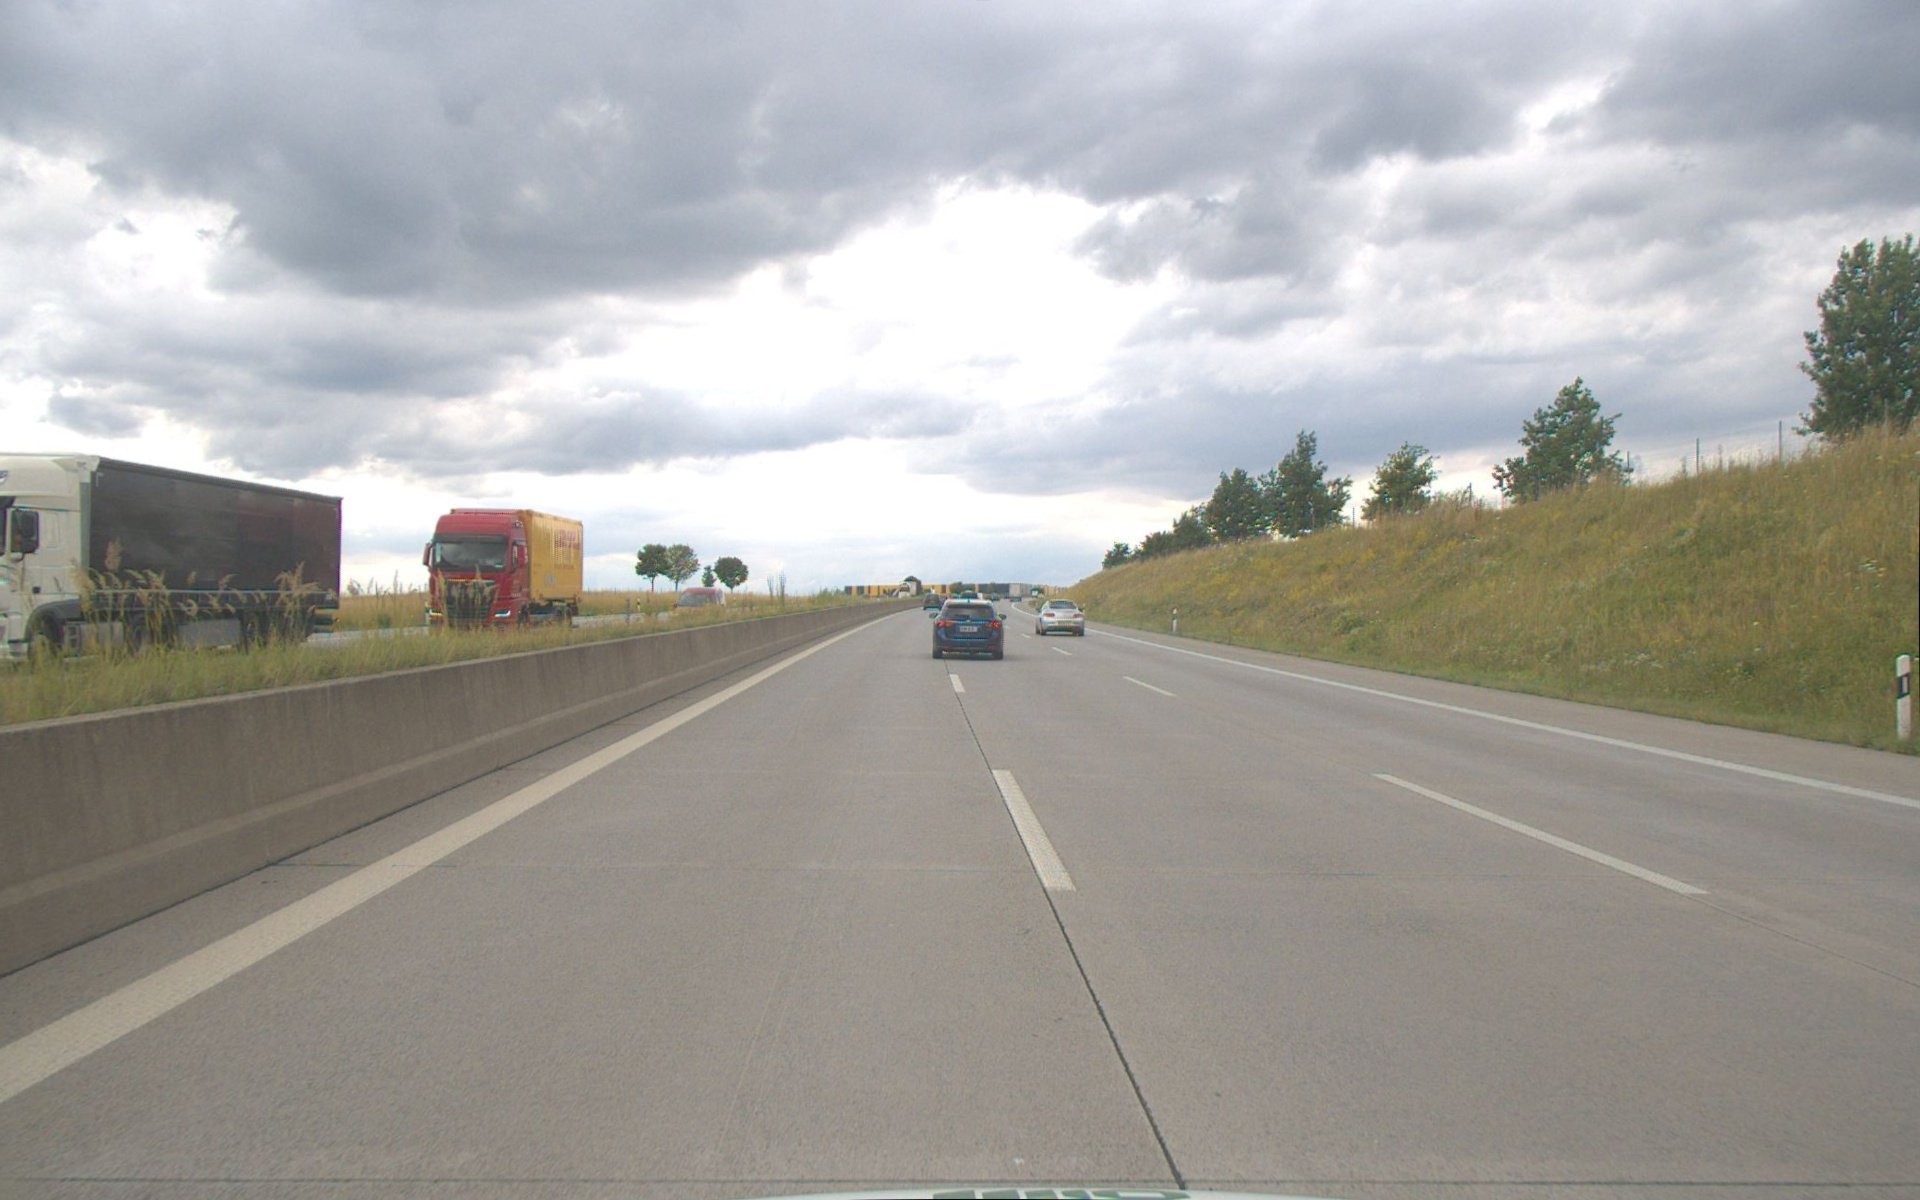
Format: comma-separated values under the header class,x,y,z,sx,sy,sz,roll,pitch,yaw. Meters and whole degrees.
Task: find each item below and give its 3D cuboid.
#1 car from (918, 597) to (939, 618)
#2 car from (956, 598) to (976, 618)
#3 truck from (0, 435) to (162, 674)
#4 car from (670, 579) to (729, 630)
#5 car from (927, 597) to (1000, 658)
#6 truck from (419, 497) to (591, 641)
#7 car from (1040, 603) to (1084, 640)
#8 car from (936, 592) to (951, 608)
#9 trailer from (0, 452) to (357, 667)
class,x,y,z,sx,sy,sz,roll,pitch,yaw
car,-3.196,0.769,165.448,2.005,2.049,3.998,1,-1,-2
car,0.600,0.837,172.729,1.953,2.049,3.999,1,-1,-1
truck,-17.770,-0.805,31.230,2.782,4.109,5.509,0,0,-1
car,-10.759,0.196,68.569,1.776,1.997,5.337,1,-1,-2
car,0.121,0.676,41.596,1.738,1.438,4.000,1,0,1
truck,-14.203,-0.901,52.627,2.759,4.109,10.565,0,0,-1
car,4.152,0.874,67.704,1.751,1.428,4.223,1,0,3
car,-2.208,-0.019,218.278,1.953,2.049,3.998,1,-1,-2
trailer,-17.897,-0.811,38.686,2.782,4.109,13.903,0,0,-1
